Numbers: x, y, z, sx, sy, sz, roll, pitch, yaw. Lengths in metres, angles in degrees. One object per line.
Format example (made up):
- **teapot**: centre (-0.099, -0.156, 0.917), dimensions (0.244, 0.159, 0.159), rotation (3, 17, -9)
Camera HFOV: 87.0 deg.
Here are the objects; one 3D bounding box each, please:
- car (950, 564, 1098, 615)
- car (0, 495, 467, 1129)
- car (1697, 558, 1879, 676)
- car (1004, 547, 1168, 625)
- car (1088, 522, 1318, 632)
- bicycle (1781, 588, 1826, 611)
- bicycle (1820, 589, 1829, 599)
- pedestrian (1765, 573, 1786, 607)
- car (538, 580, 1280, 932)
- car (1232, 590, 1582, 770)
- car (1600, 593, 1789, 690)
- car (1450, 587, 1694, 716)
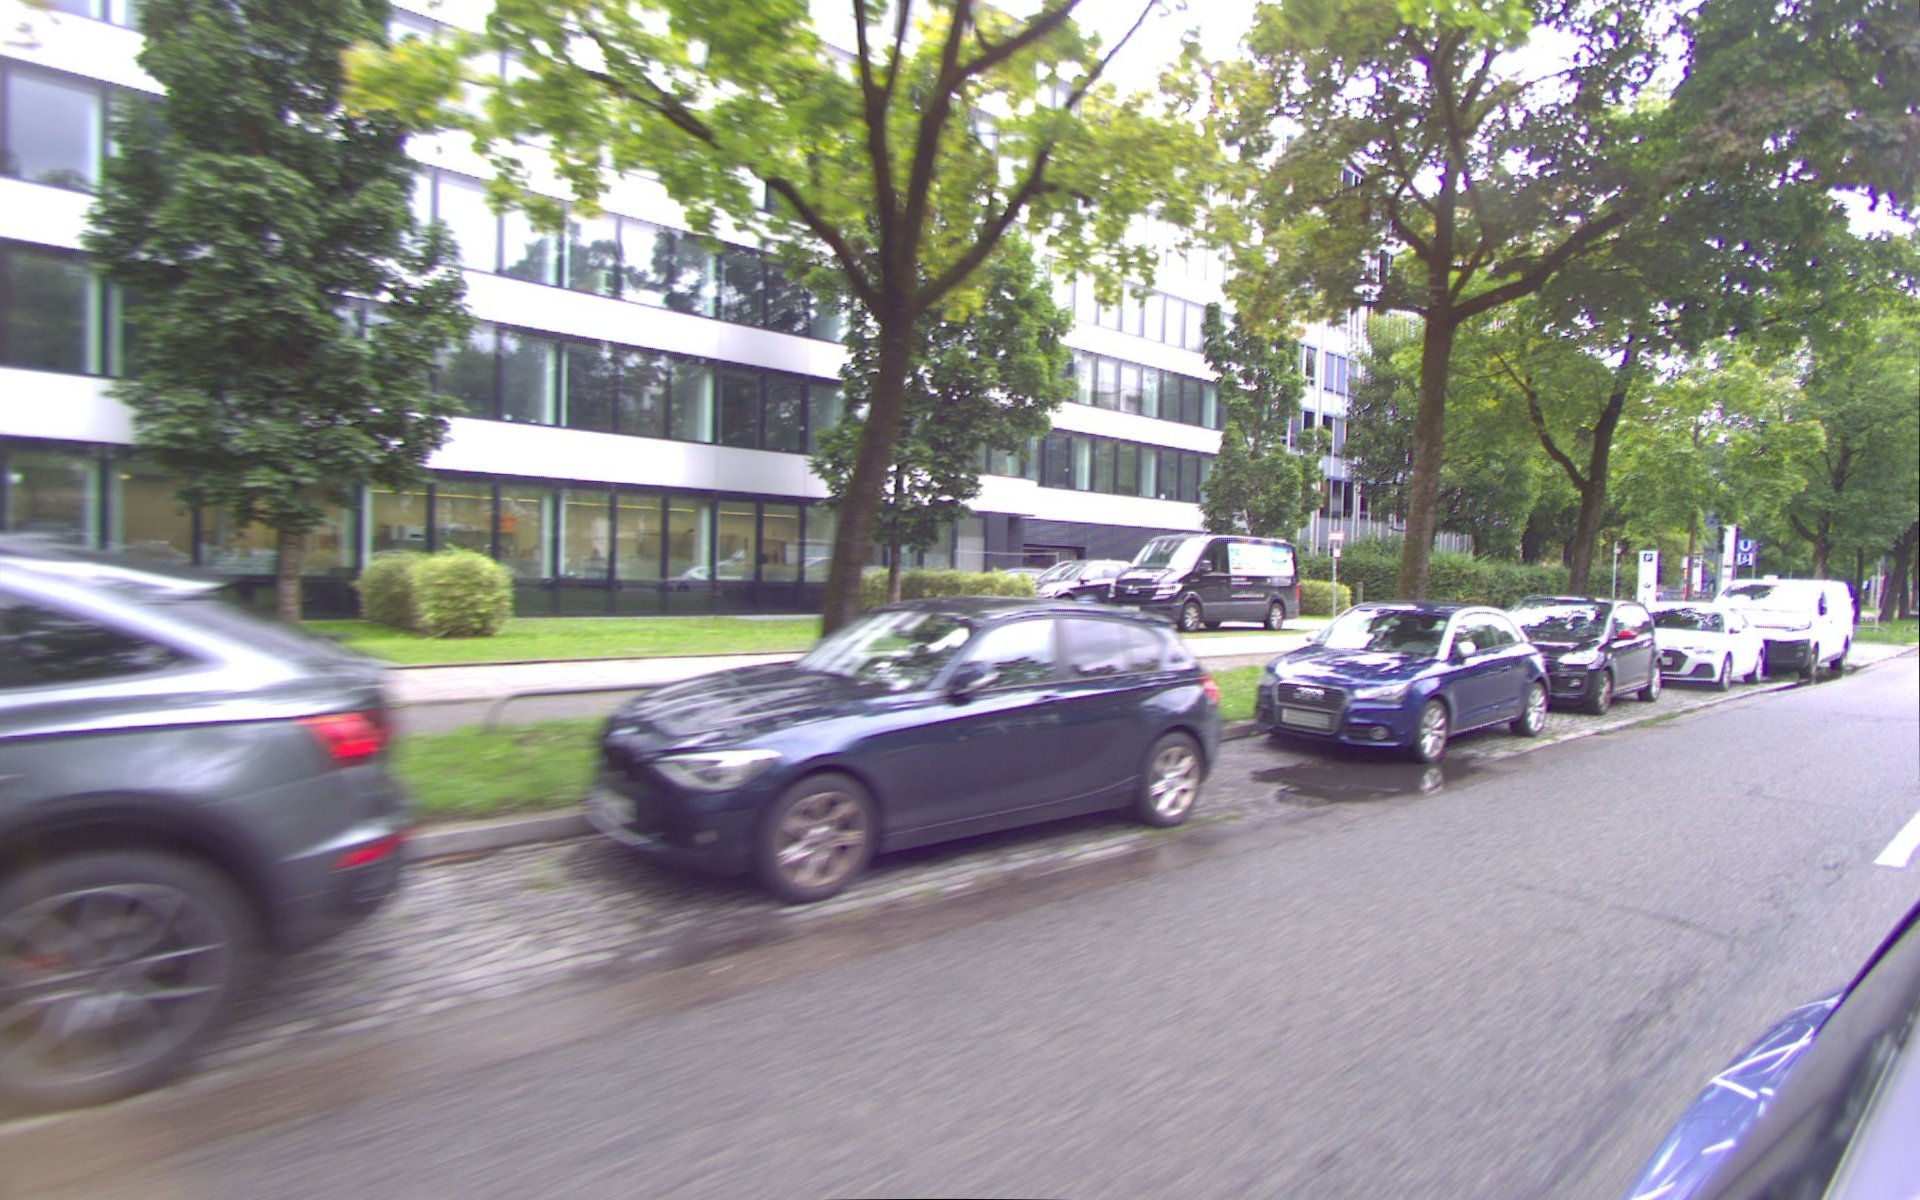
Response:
- **car**: centre (1.866, -0.311, 29.490), dimensions (3.882, 1.391, 1.792), rotation (1, 1, -23)
- **car**: centre (-4.061, 0.520, 2.628), dimensions (4.713, 1.696, 1.818), rotation (0, 3, -39)
- **car**: centre (17.684, 0.288, 21.512), dimensions (5.457, 2.184, 1.992), rotation (0, 3, -41)
- **car**: centre (3.379, -0.375, 26.570), dimensions (4.396, 1.840, 1.845), rotation (0, 3, -43)
- **car**: centre (5.984, -0.546, 24.350), dimensions (6.162, 2.335, 2.268), rotation (0, 3, -43)
- **bicycle**: centre (51.579, -0.057, 61.872), dimensions (1.927, 1.203, 0.594), rotation (5, 2, 16)
- **bicycle**: centre (109.518, -0.778, 128.189), dimensions (2.106, 1.207, 0.512), rotation (-1, 3, -43)
- **pedestrian**: centre (47.307, -0.564, 58.699), dimensions (0.734, 1.923, 0.654), rotation (1, 2, -28)
- **car**: centre (-0.069, 0.652, 6.307), dimensions (4.430, 1.425, 1.707), rotation (0, 3, -38)
- **car**: centre (4.746, 0.667, 10.490), dimensions (4.048, 1.438, 1.705), rotation (0, 3, -41)
- **car**: centre (12.837, 0.639, 17.601), dimensions (4.158, 1.414, 1.705), rotation (0, 3, -41)
- **car**: centre (8.511, 0.603, 13.947), dimensions (3.908, 1.464, 1.705), rotation (0, 3, -41)
